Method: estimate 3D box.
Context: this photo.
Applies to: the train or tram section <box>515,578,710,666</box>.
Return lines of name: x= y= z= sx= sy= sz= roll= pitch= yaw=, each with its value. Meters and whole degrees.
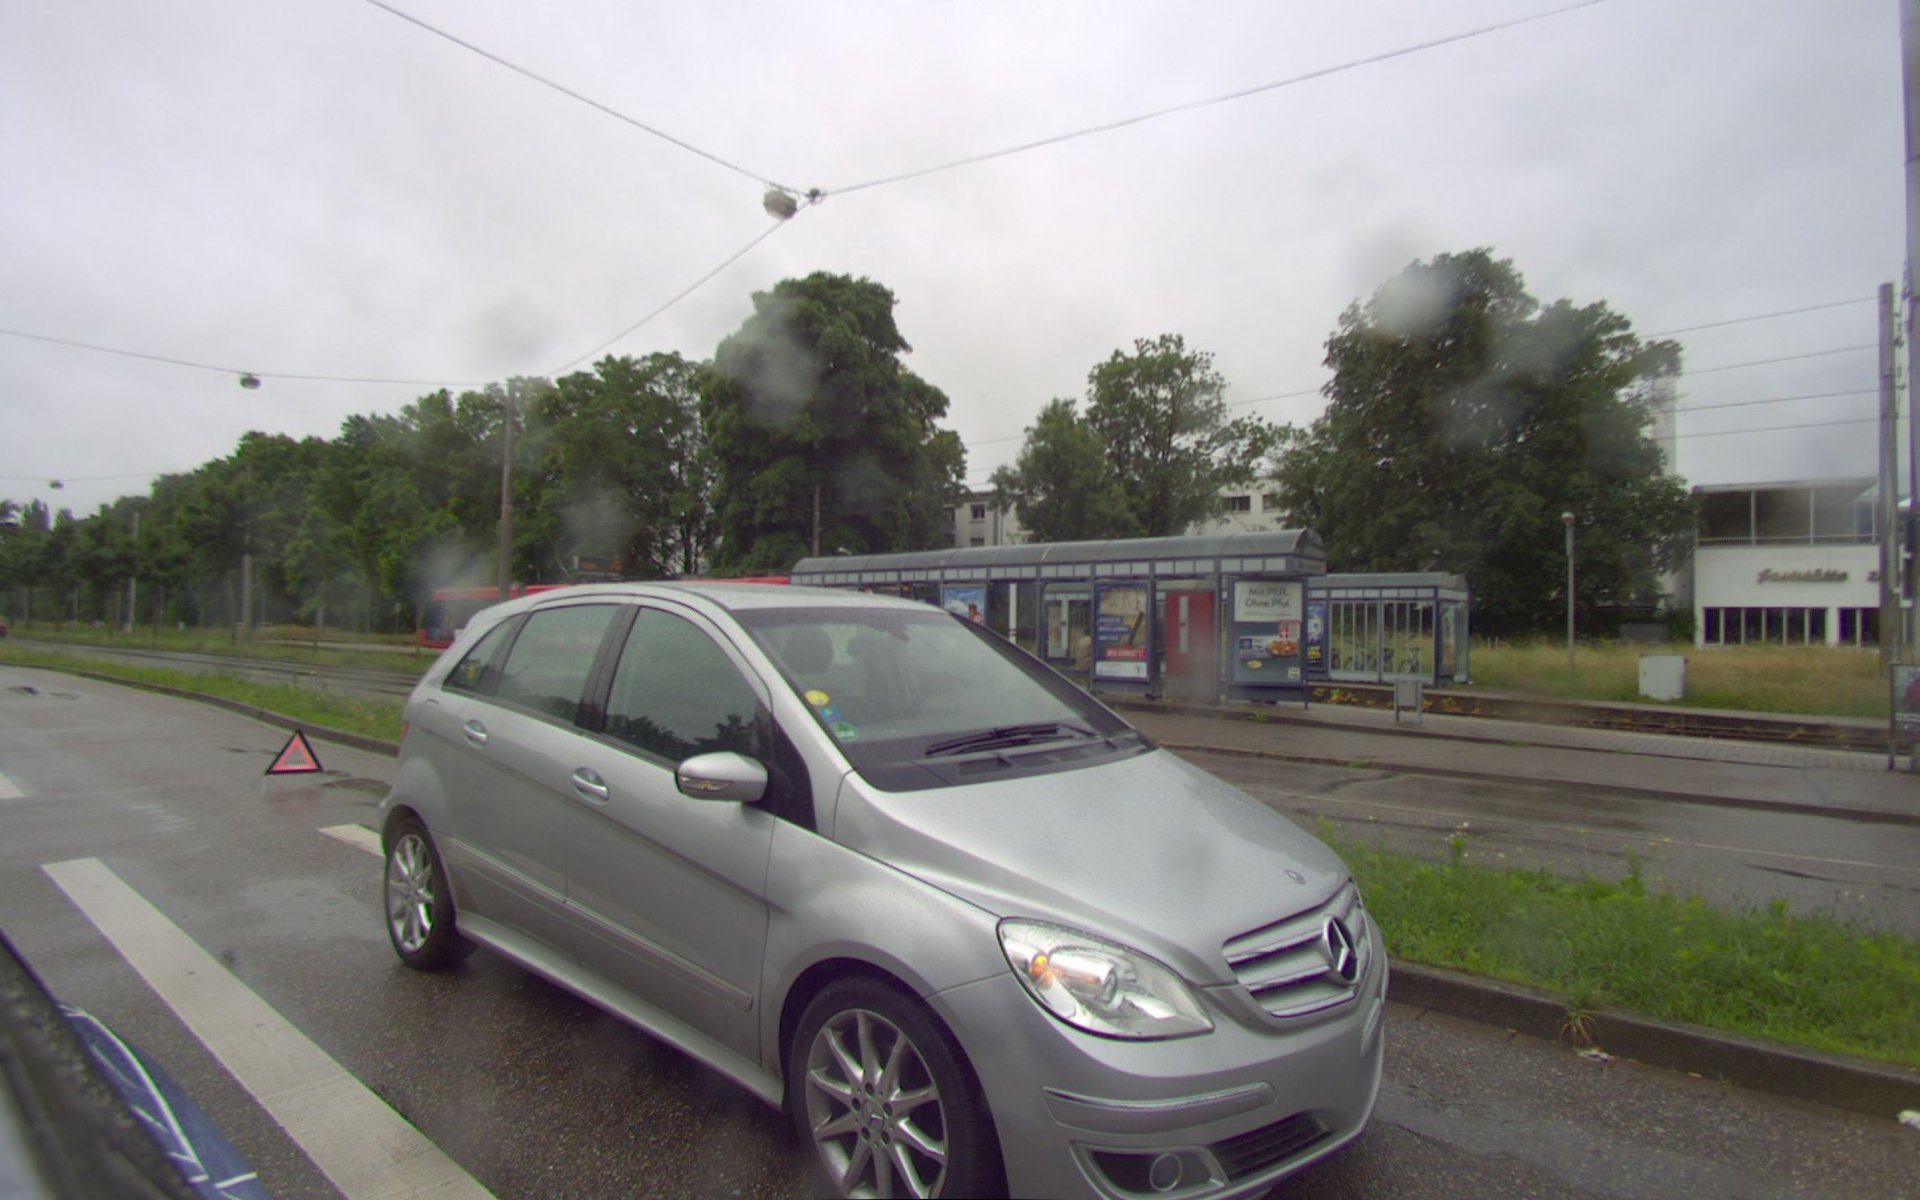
train or tram section: x=-15.390 y=0.961 z=44.255 sx=10.258 sy=3.427 sz=3.495 roll=-1 pitch=-3 yaw=42

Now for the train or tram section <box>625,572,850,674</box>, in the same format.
train or tram section: x=-8.591 y=0.870 z=38.146 sx=9.275 sy=3.416 sz=3.495 roll=-1 pitch=-3 yaw=42

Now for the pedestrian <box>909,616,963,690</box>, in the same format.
pedestrian: x=-0.538 y=1.180 z=22.806 sx=0.929 sy=1.609 sz=0.795 roll=-1 pitch=-2 yaw=44

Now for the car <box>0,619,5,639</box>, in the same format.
car: x=-69.637 y=2.034 z=72.176 sx=4.248 sy=1.371 sz=1.663 roll=-1 pitch=-4 yaw=40

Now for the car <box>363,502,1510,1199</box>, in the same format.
car: x=-0.469 y=0.659 z=3.628 sx=4.011 sy=1.556 sz=1.718 roll=-1 pitch=-2 yaw=41

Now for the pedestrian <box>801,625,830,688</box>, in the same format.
pedestrian: x=-3.673 y=1.424 z=25.758 sx=0.514 sy=1.574 sz=0.603 roll=0 pitch=0 yaw=-35

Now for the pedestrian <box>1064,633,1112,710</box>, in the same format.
pedestrian: x=2.502 y=1.386 z=19.834 sx=0.699 sy=1.464 sz=0.618 roll=-1 pitch=-3 yaw=43

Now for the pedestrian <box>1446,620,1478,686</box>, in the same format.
pedestrian: x=13.970 y=1.456 z=28.161 sx=0.680 sy=1.806 sz=0.623 roll=0 pitch=0 yaw=40

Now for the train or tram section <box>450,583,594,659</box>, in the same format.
train or tram section: x=-21.701 y=1.051 z=49.952 sx=7.900 sy=3.438 sz=3.495 roll=-1 pitch=-3 yaw=42

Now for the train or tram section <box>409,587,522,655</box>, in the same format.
train or tram section: x=-26.589 y=1.145 z=54.351 sx=5.768 sy=3.444 sz=3.495 roll=-1 pitch=-3 yaw=42

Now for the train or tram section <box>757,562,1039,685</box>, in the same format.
train or tram section: x=-2.222 y=0.760 z=32.392 sx=9.275 sy=3.415 sz=3.495 roll=-1 pitch=-3 yaw=42
